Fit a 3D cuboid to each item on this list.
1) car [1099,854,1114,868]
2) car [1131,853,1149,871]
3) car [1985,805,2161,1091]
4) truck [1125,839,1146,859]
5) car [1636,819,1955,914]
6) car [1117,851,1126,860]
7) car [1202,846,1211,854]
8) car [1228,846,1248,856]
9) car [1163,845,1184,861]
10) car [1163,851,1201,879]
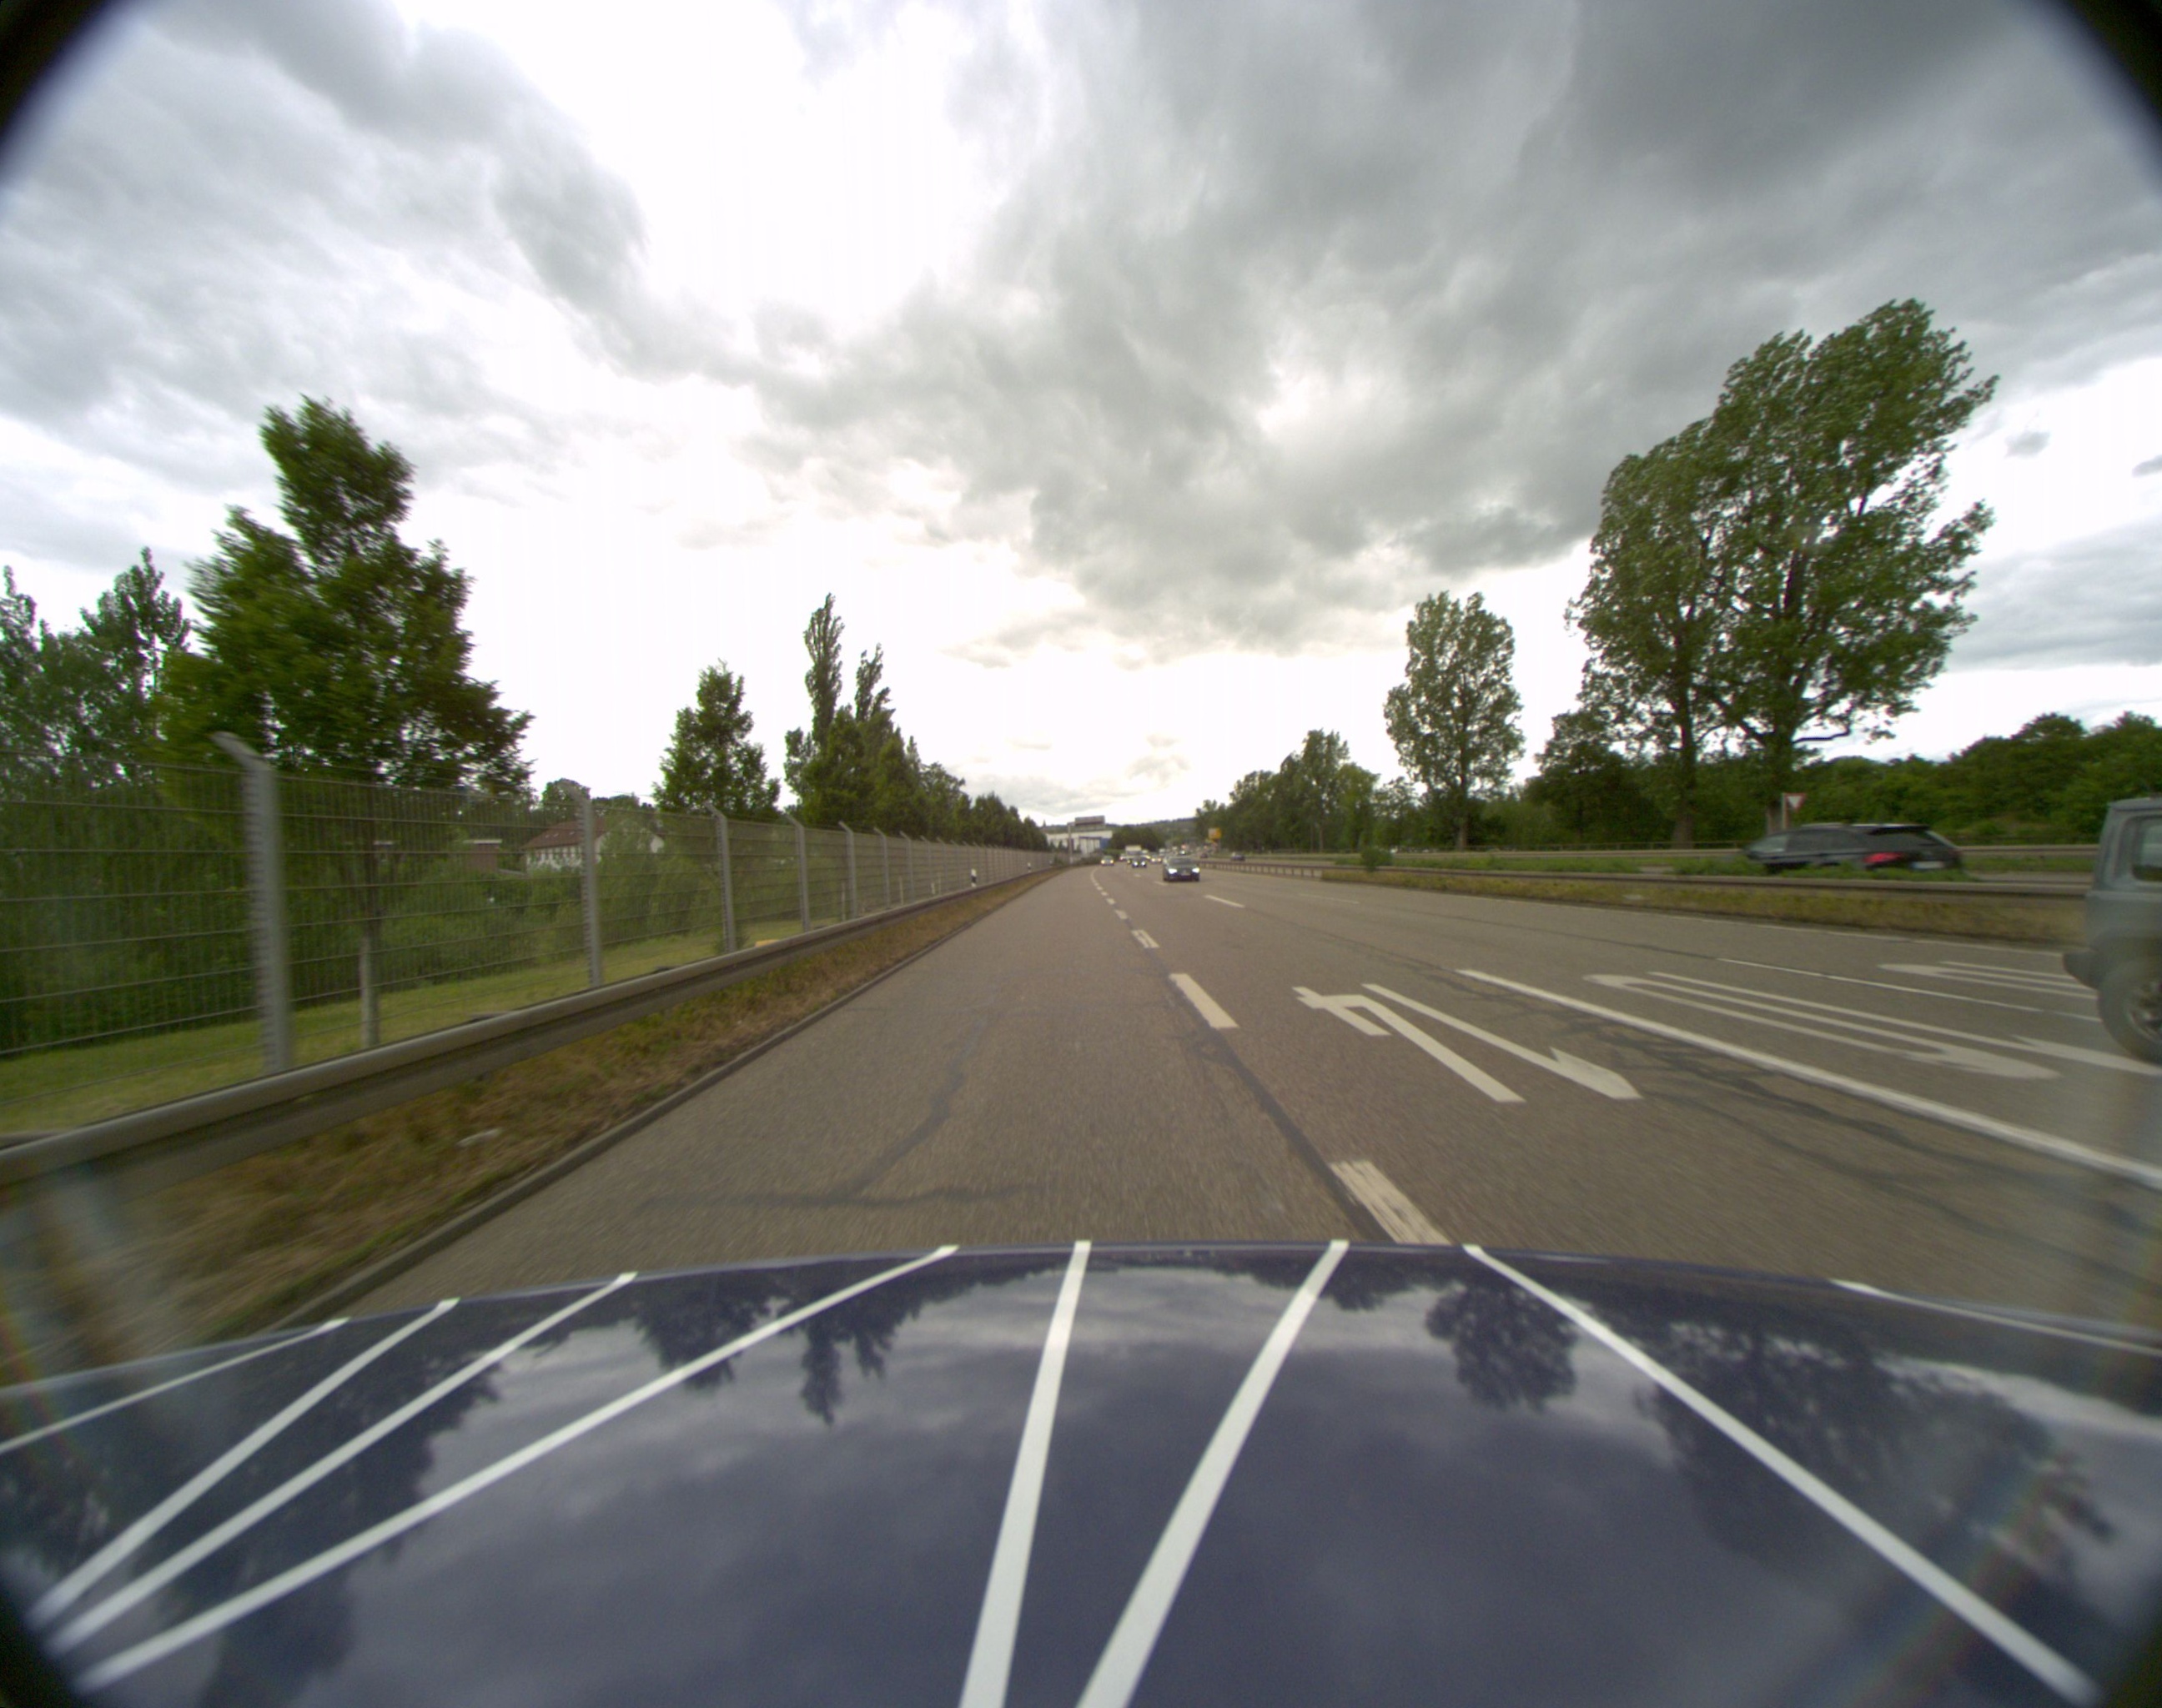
[{"bbox_3d":[4.105,1.132,121.668,1.998,2.002,4.001,-4,0,5],"label":"car"},{"bbox_3d":[7.189,0.920,91.951,1.998,2.002,4.002,-4,0,5],"label":"car"},{"bbox_3d":[7.314,0.553,3.455,1.685,1.726,3.998,-2,1,1],"label":"car"},{"bbox_3d":[9.301,-0.881,130.391,3.039,3.141,7.567,-2,1,1],"label":"truck"},{"bbox_3d":[15.436,0.198,17.010,1.851,1.720,5.523,-2,1,-1],"label":"car"},{"bbox_3d":[9.775,0.282,182.050,1.998,2.002,4.000,-2,0,2],"label":"car"},{"bbox_3d":[31.729,-1.009,191.939,1.997,2.002,5.225,-4,0,8],"label":"car"},{"bbox_3d":[24.225,-0.466,117.496,1.999,1.599,4.649,-1,0,-2],"label":"car"},{"bbox_3d":[10.771,-0.105,89.034,1.878,1.853,4.000,-2,0,0],"label":"car"},{"bbox_3d":[5.804,0.609,44.018,1.939,1.492,4.305,-2,0,5],"label":"car"}]
